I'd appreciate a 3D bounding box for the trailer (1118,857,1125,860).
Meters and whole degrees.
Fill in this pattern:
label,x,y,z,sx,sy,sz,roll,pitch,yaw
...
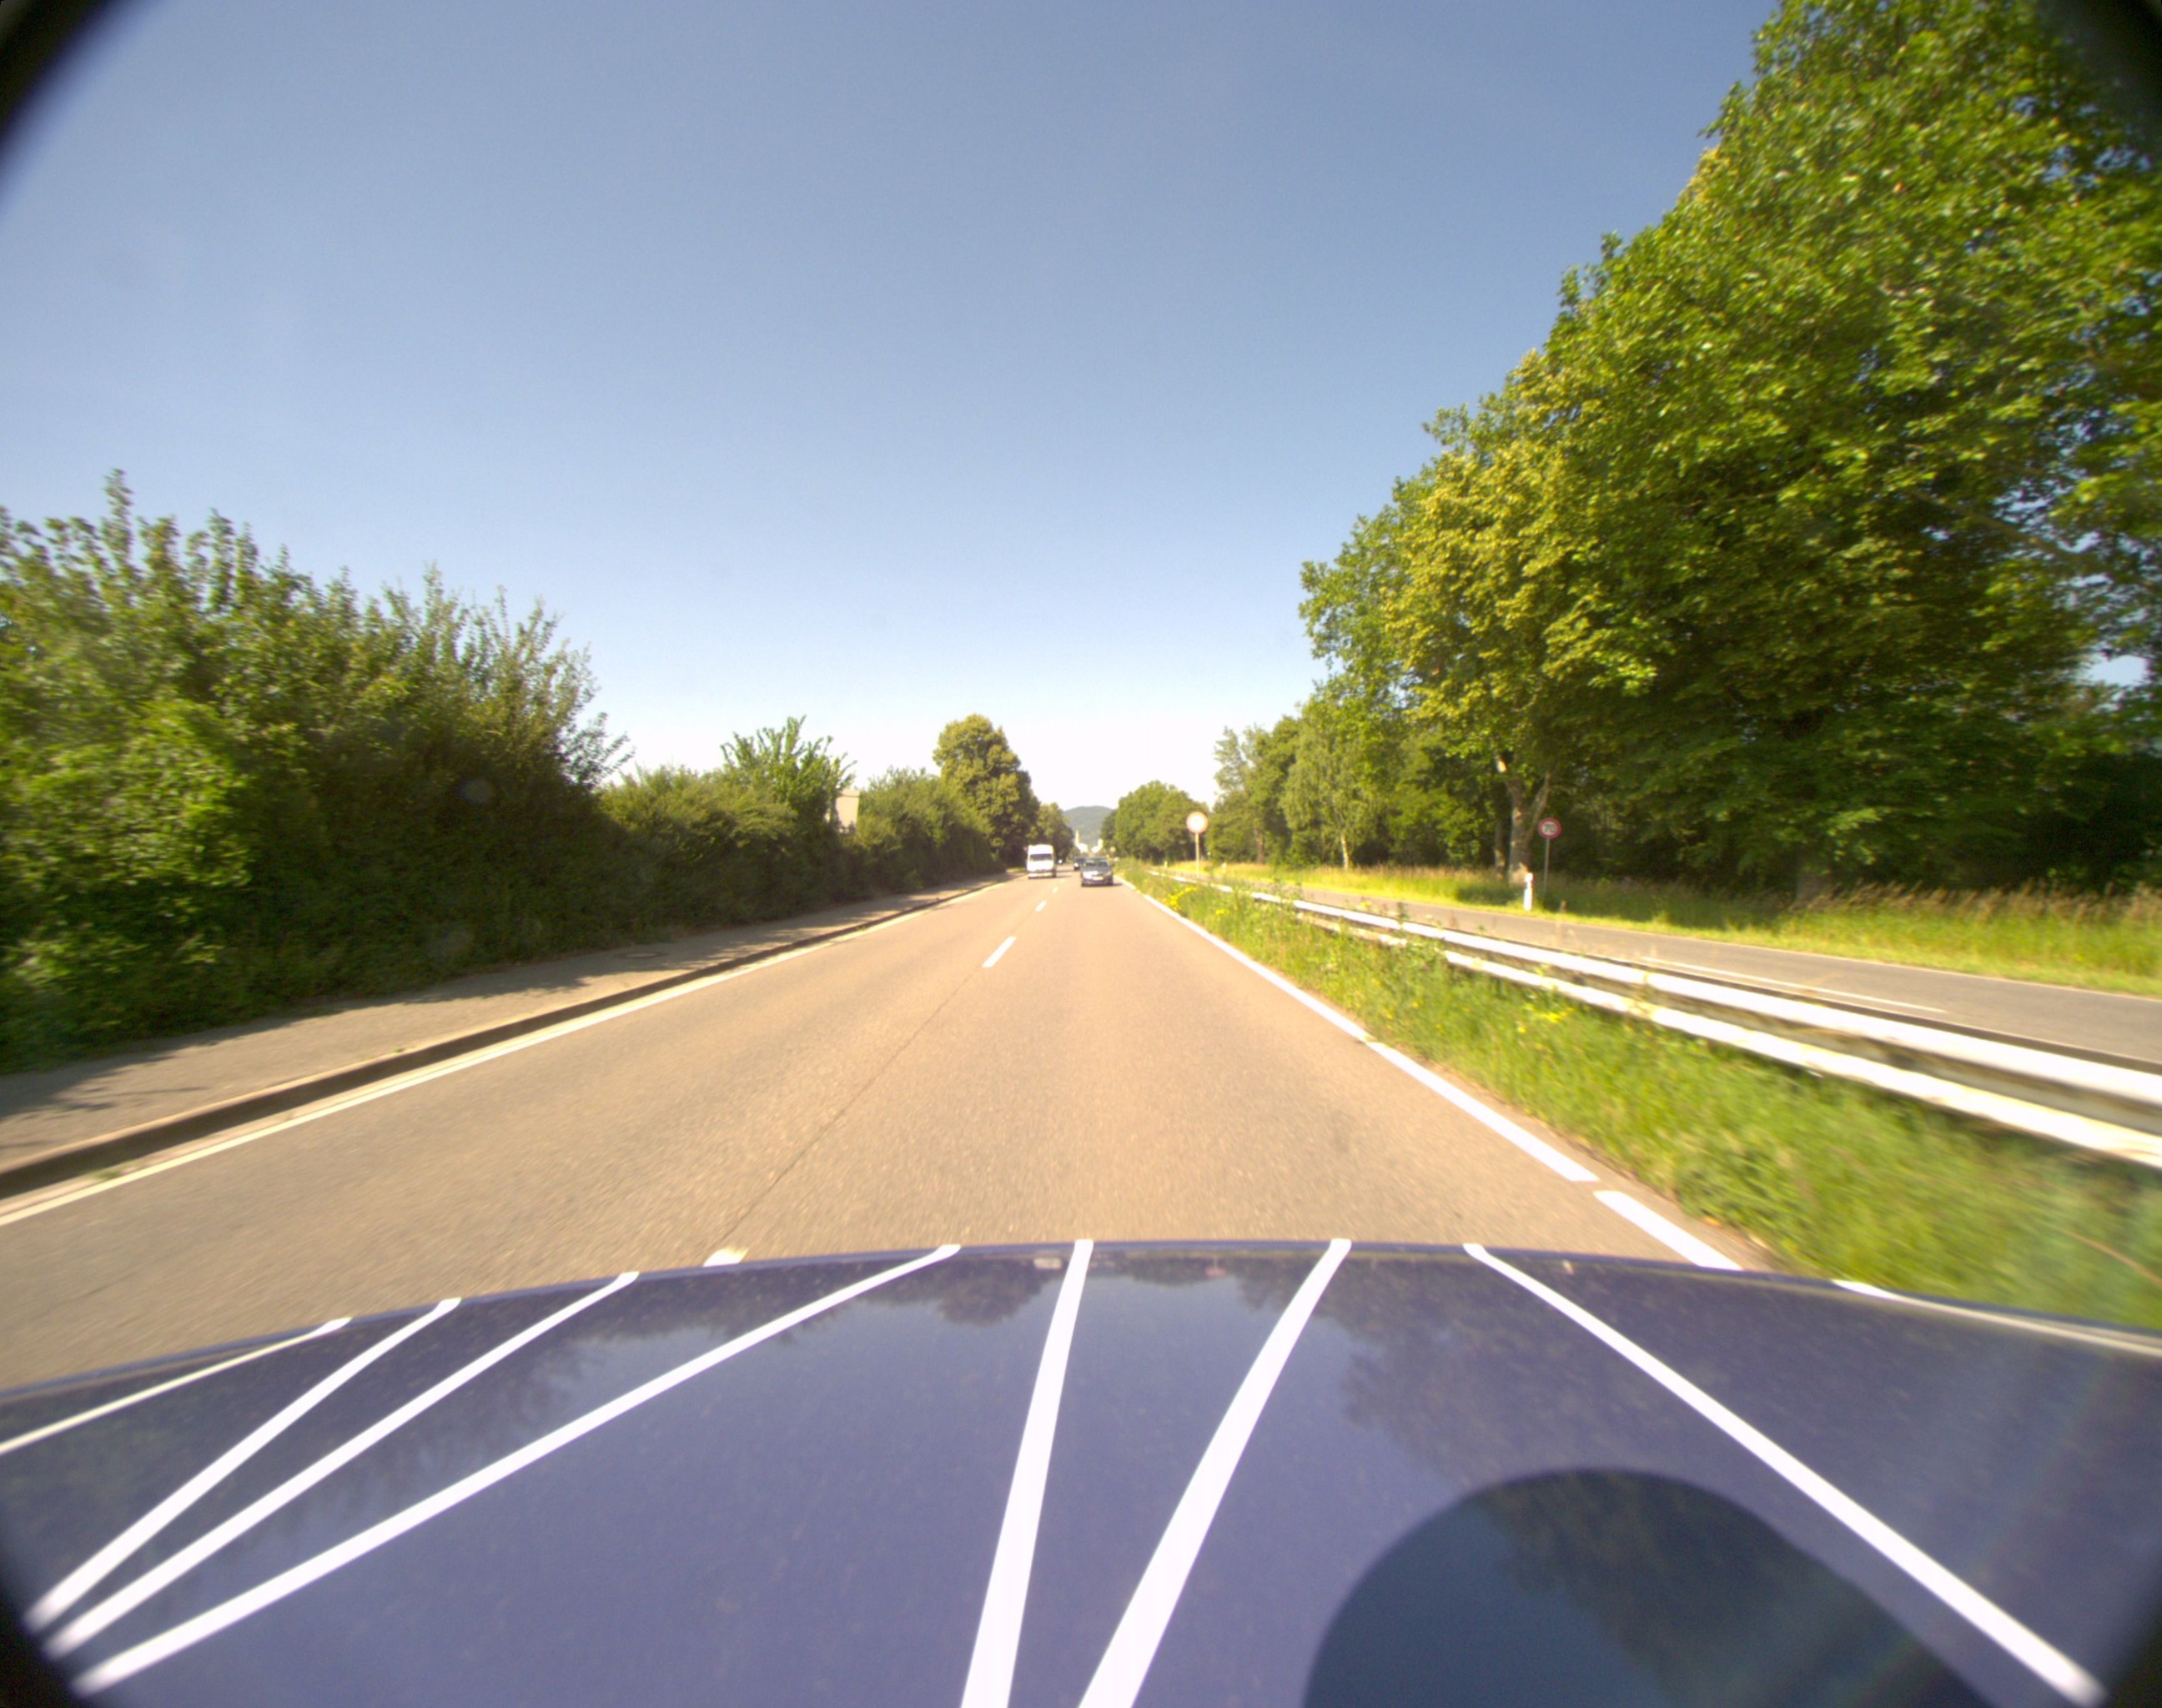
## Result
label,x,y,z,sx,sy,sz,roll,pitch,yaw
trailer,12.227,1.251,230.999,1.969,0.955,5.598,0,0,0

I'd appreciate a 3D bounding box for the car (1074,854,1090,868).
label,x,y,z,sx,sy,sz,roll,pitch,yaw
car,0.120,0.799,85.009,1.678,1.435,3.622,-1,1,1

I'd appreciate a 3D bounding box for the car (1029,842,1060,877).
label,x,y,z,sx,sy,sz,roll,pitch,yaw
car,-2.674,0.382,57.401,1.998,2.432,5.088,-1,1,0

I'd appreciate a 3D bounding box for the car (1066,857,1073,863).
label,x,y,z,sx,sy,sz,roll,pitch,yaw
car,-3.318,1.750,223.005,1.825,1.591,4.000,0,0,1

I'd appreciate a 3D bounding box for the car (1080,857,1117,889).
label,x,y,z,sx,sy,sz,roll,pitch,yaw
car,0.823,0.888,37.316,1.678,1.435,4.361,-1,1,1
